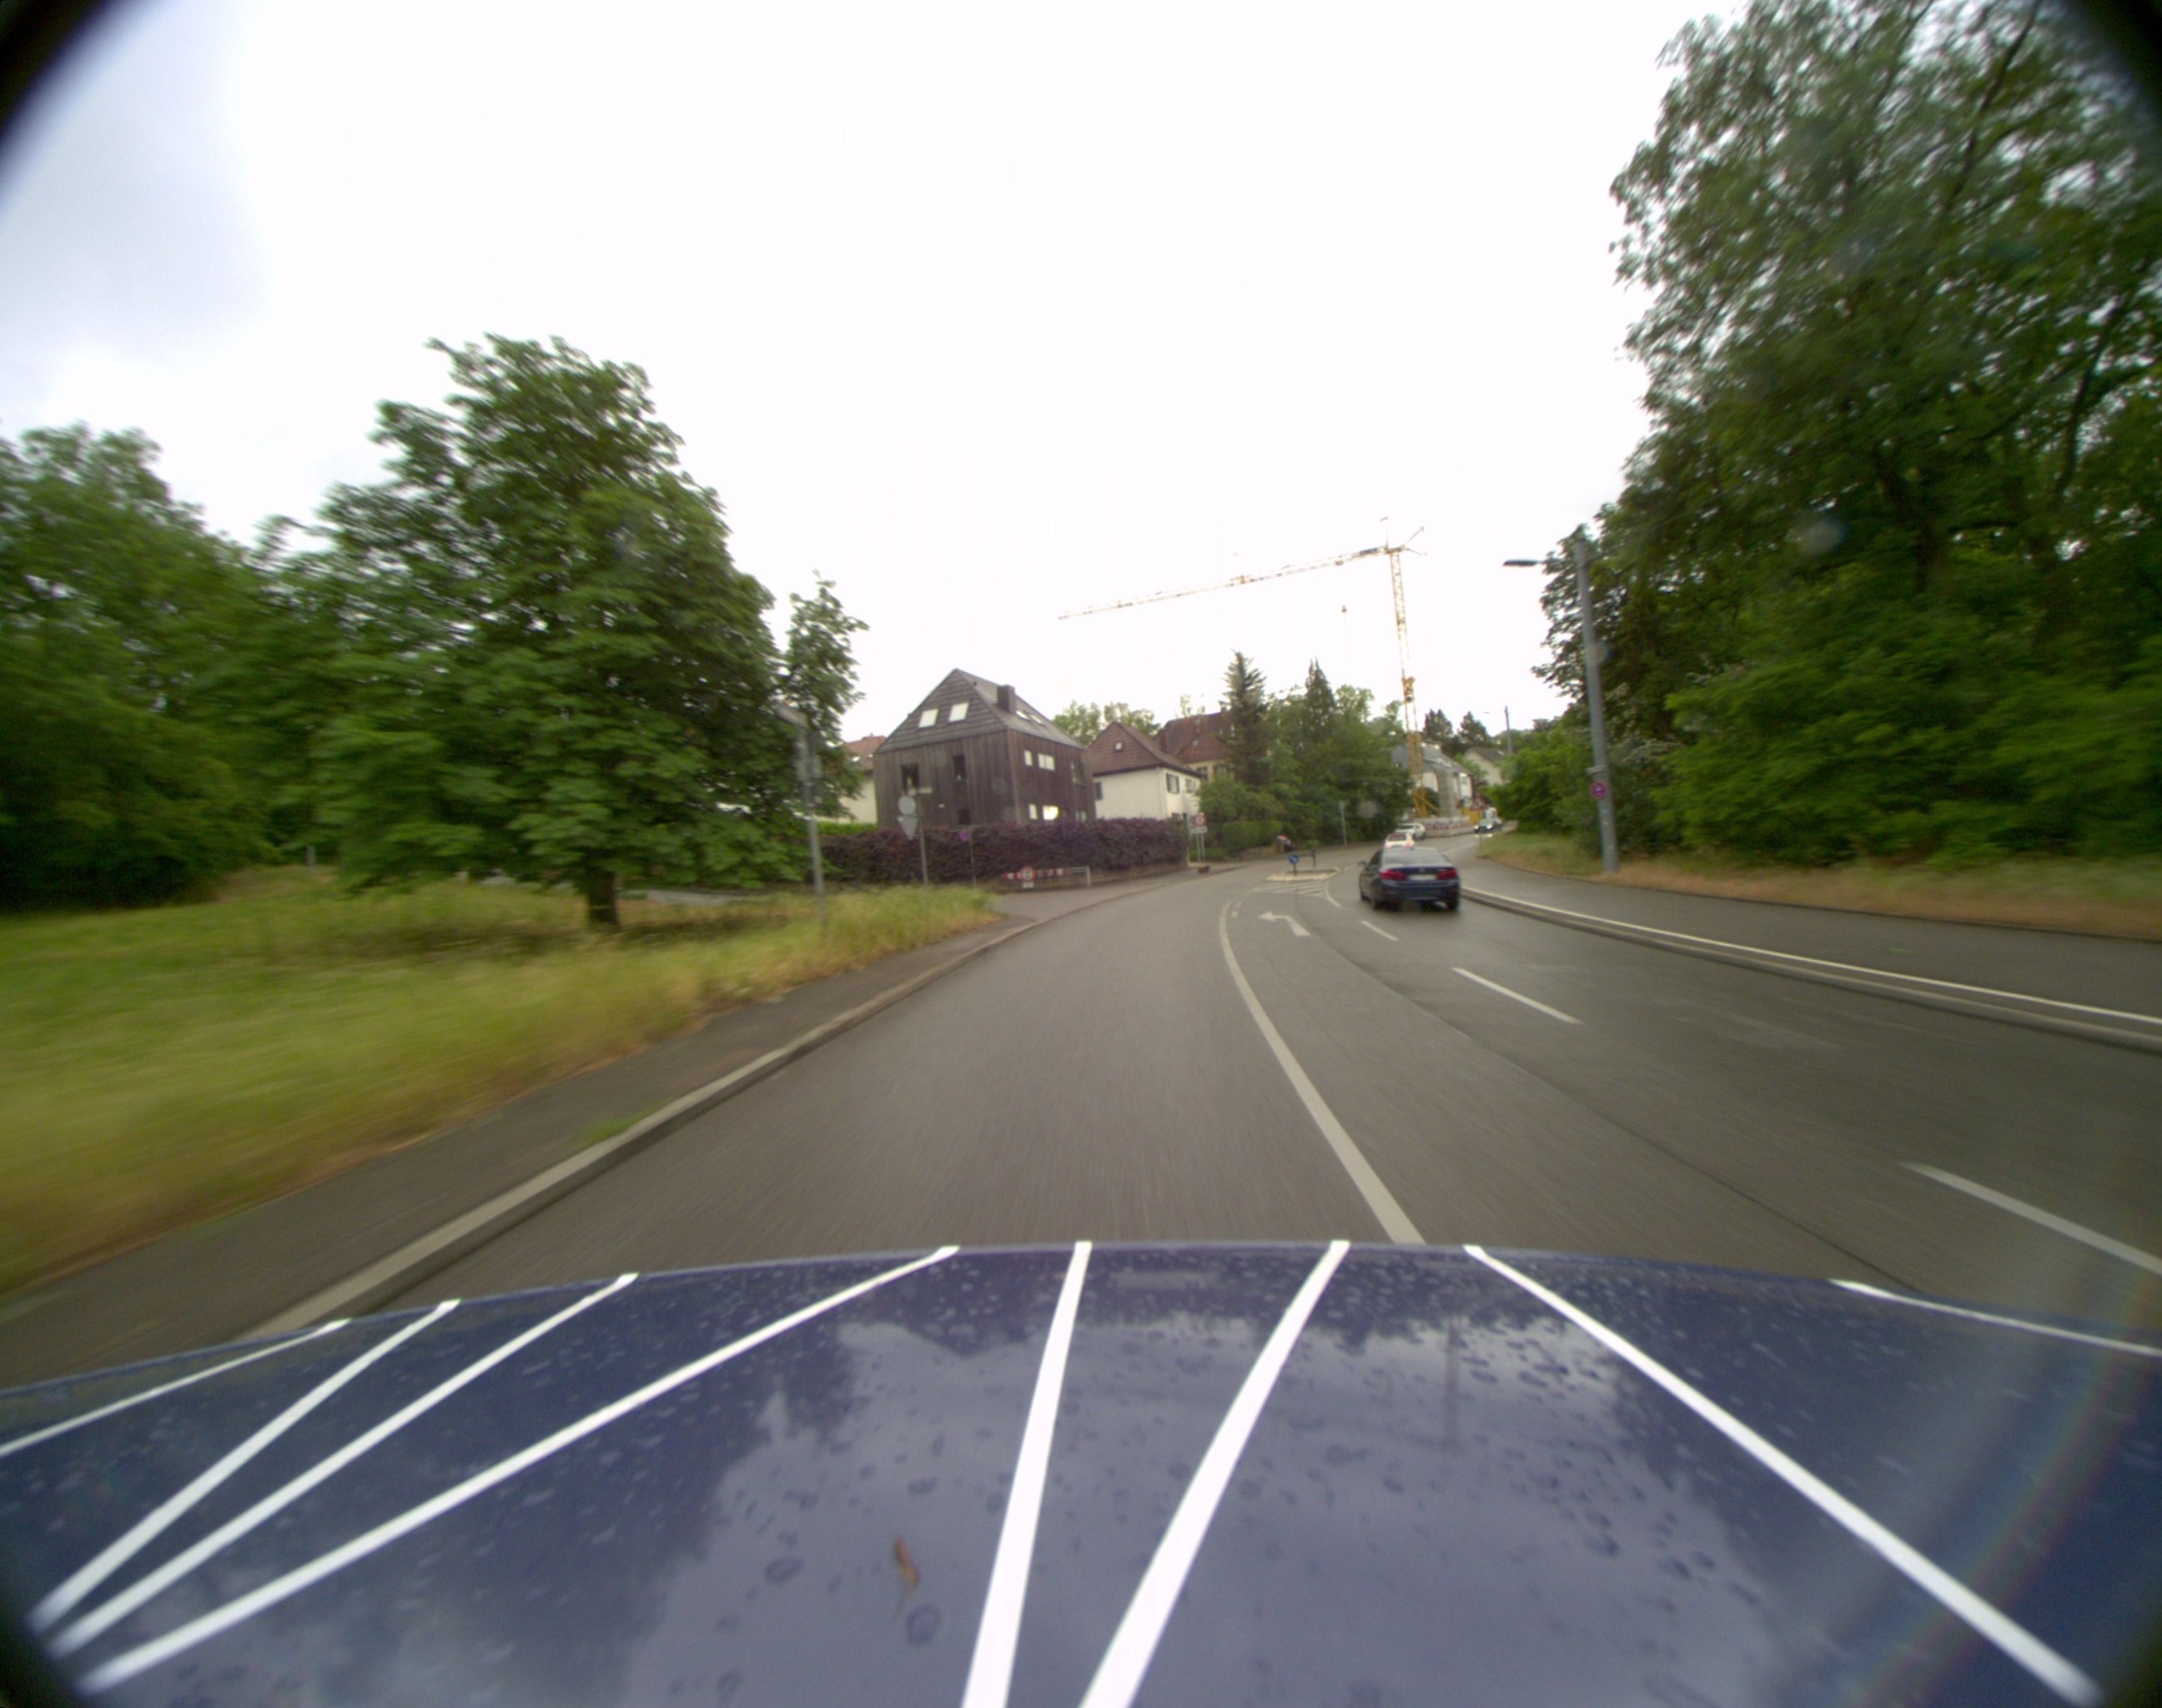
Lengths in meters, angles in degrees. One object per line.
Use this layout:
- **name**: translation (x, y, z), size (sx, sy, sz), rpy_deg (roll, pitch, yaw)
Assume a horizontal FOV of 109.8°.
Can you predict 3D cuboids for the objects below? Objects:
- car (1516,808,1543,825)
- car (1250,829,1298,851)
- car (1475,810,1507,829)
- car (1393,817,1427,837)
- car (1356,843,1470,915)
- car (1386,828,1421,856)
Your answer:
- **car**: translation (45.314, -3.816, 76.674), size (1.633, 1.446, 3.808), rpy_deg (-2, 2, 41)
- **car**: translation (15.923, -1.178, 62.716), size (3.480, 1.404, 1.430), rpy_deg (-7, 0, 33)
- **car**: translation (41.824, -3.483, 77.432), size (1.994, 1.707, 4.007), rpy_deg (-1, 3, 42)
- **car**: translation (30.413, -2.498, 70.187), size (1.827, 1.587, 4.006), rpy_deg (0, 4, 40)
- **car**: translation (7.985, 0.518, 18.676), size (1.849, 1.492, 4.635), rpy_deg (-1, 1, 15)
- **car**: translation (19.466, -0.735, 45.838), size (1.567, 1.469, 3.673), rpy_deg (-2, 2, 29)
